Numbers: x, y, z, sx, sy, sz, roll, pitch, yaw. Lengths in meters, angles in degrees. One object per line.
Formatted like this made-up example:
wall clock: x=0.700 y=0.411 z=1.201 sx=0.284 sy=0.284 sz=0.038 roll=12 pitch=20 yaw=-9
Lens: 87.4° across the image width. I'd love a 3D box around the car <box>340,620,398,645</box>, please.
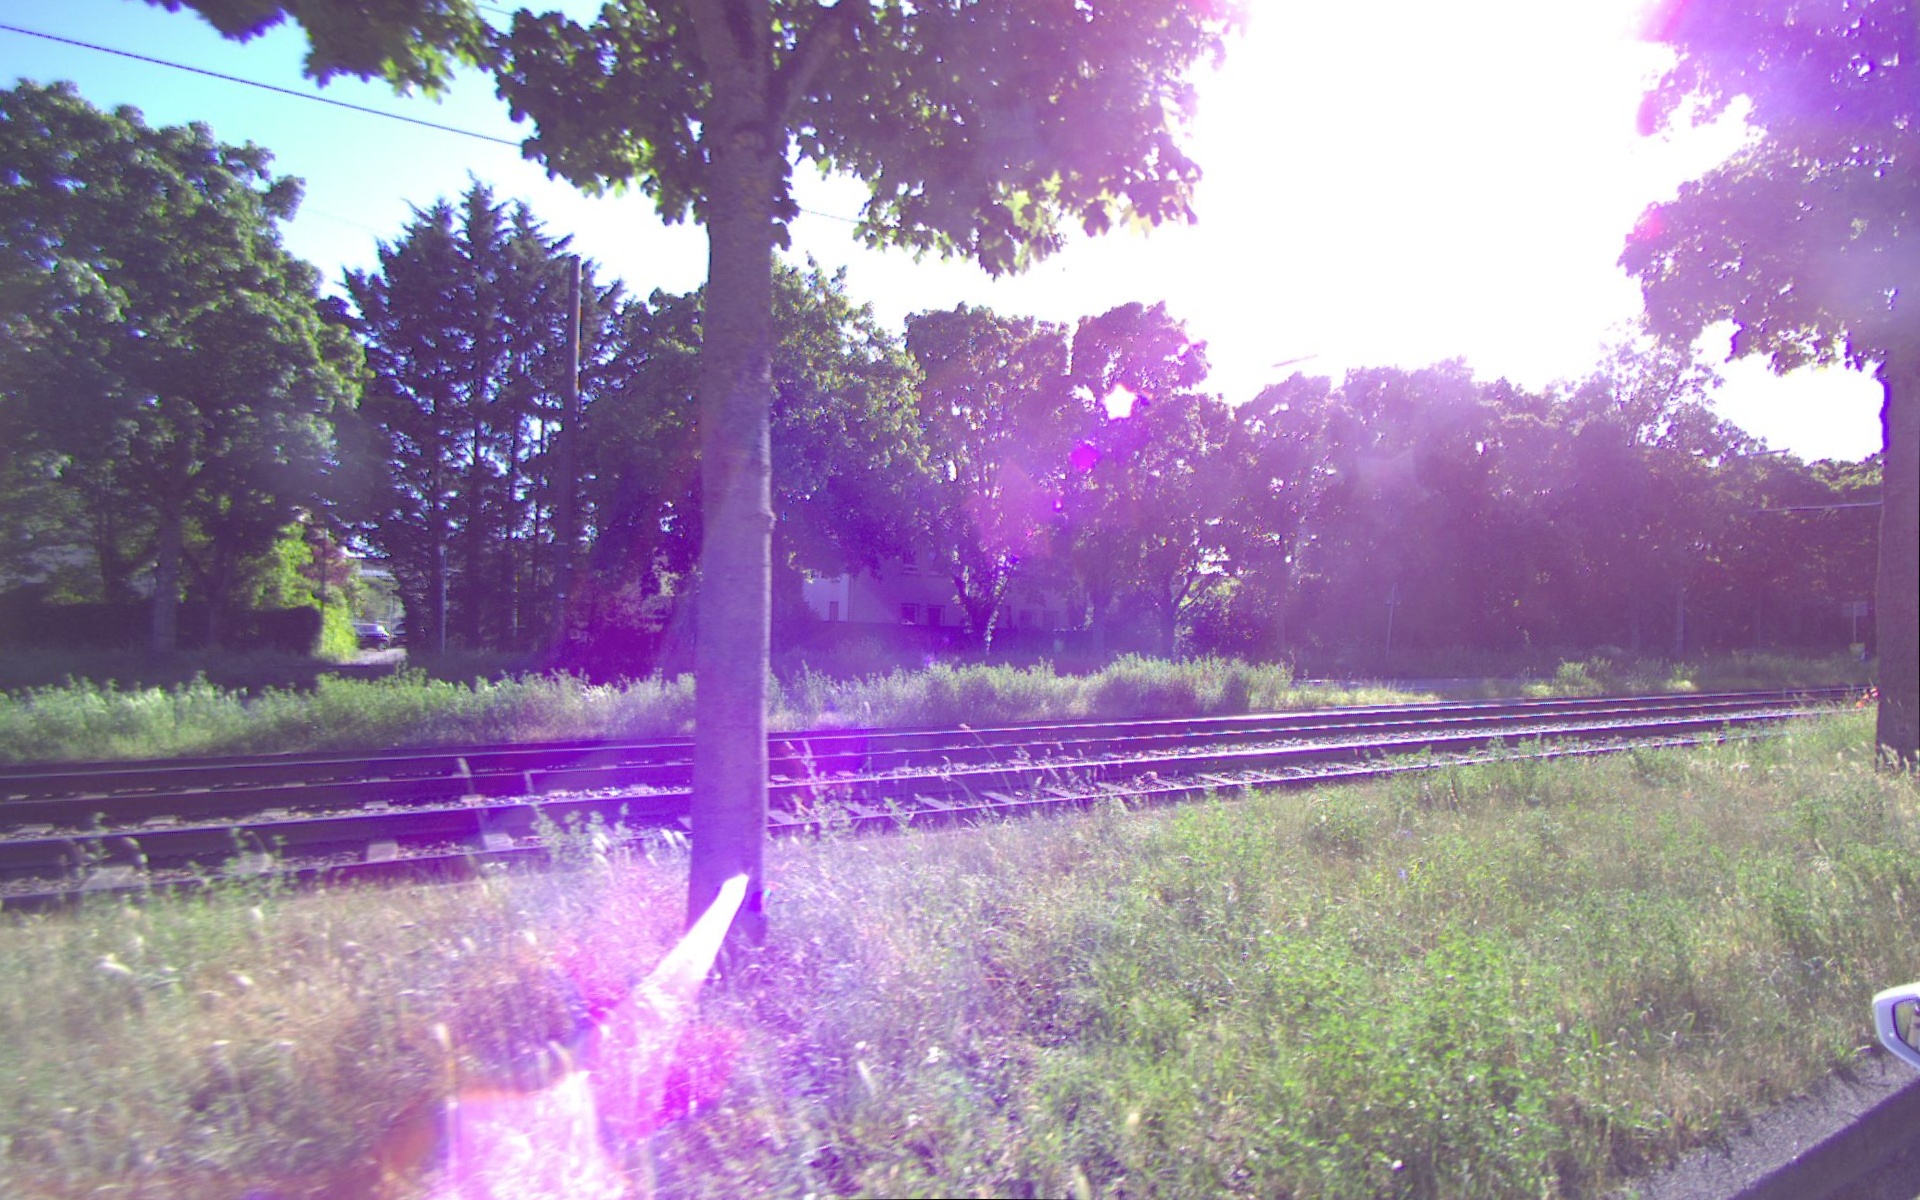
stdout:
car: x=-47.714 y=2.641 z=81.178 sx=3.954 sy=1.773 sz=1.861 roll=4 pitch=-1 yaw=-31
